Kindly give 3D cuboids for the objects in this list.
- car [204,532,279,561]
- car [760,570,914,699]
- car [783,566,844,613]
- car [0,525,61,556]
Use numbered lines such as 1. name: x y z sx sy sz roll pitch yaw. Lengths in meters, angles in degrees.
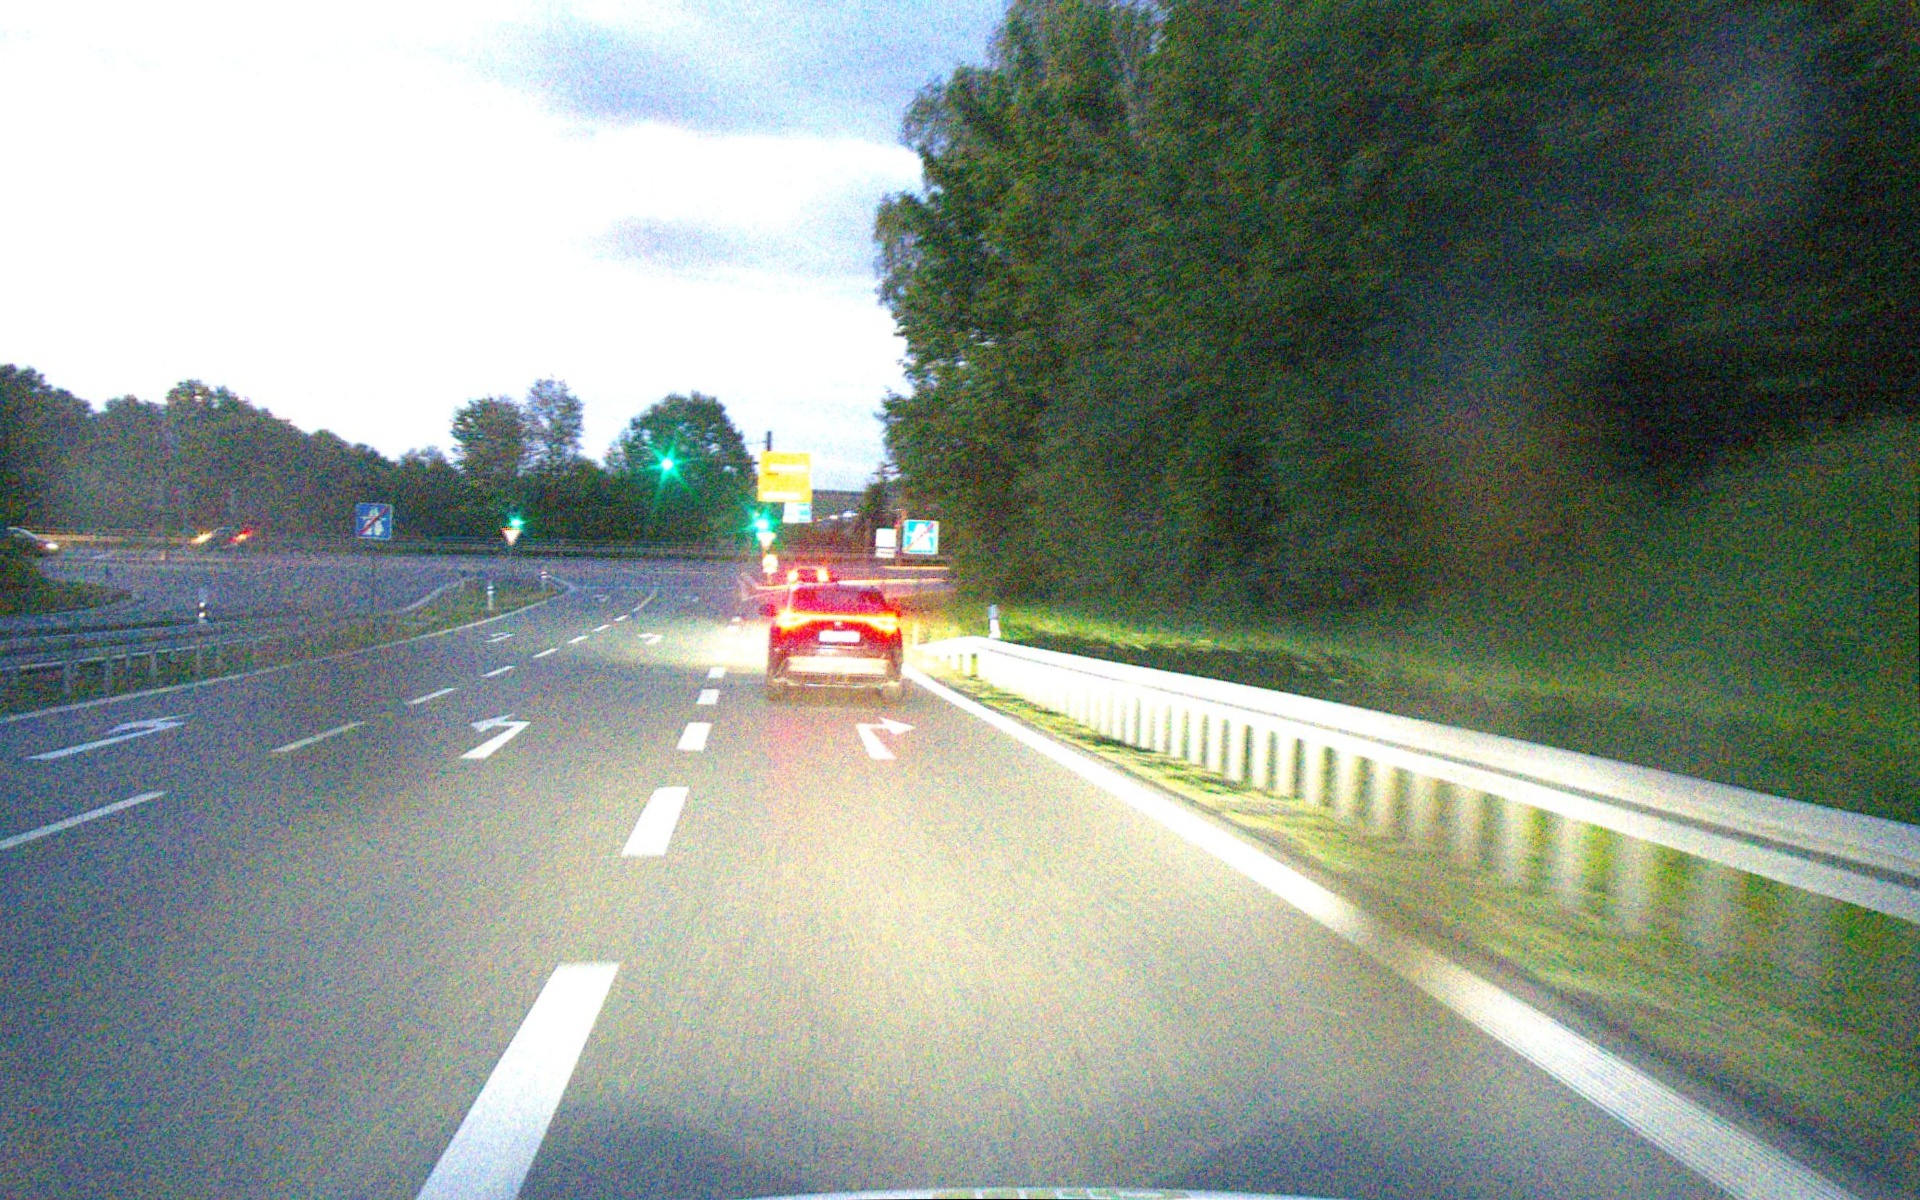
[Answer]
1. car: -42.921 -3.194 98.898 3.931 1.478 1.987 3 0 -22
2. car: -1.873 0.449 23.788 1.865 1.648 4.547 1 0 -8
3. car: -5.611 -0.385 63.718 1.744 1.682 4.001 1 -1 3
4. car: -45.719 -2.878 79.806 3.932 1.478 1.987 0 1 -23
